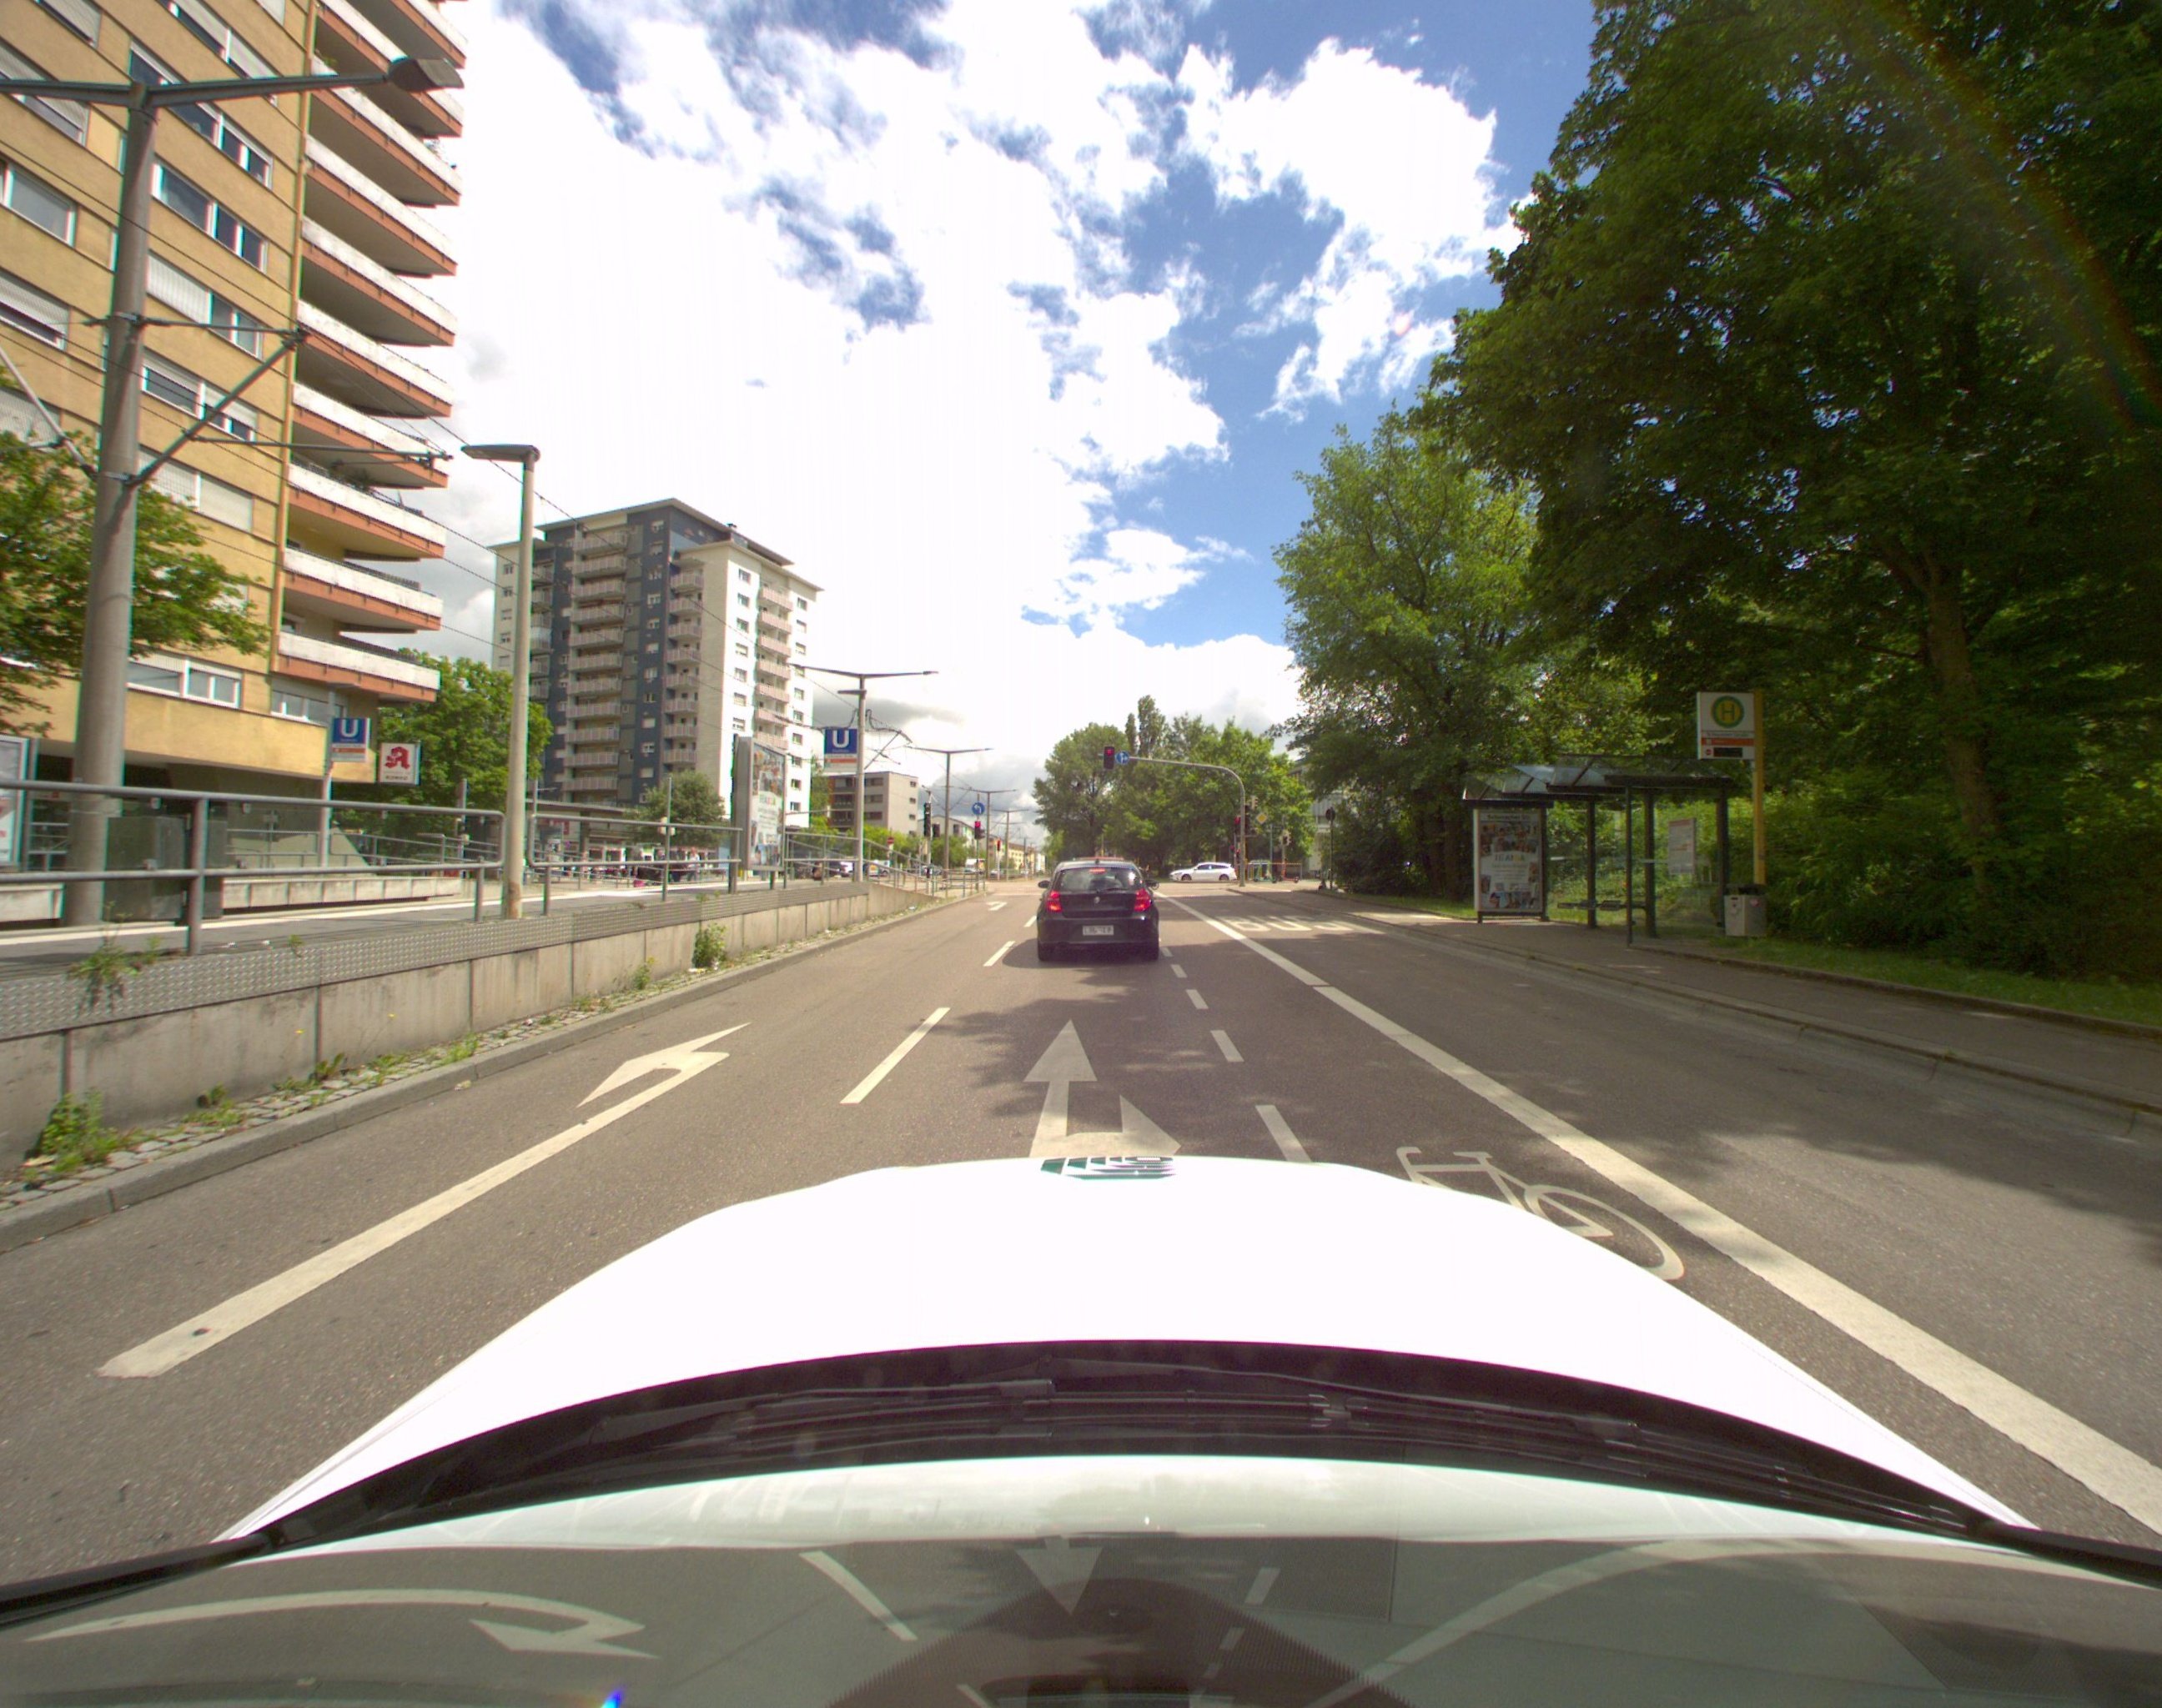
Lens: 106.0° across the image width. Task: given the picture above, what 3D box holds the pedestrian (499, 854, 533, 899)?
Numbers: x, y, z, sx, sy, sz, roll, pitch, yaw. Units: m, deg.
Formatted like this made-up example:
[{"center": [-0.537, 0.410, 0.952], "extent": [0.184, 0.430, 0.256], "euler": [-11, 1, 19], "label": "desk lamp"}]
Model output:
[{"center": [-21.764, 0.862, 31.358], "extent": [0.851, 1.696, 0.692], "euler": [0, 0, 17], "label": "pedestrian"}]

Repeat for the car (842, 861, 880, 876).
[{"center": [-23.211, 1.544, 85.897], "extent": [3.600, 1.462, 1.612], "euler": [-1, 0, -7], "label": "car"}]

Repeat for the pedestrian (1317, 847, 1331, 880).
[{"center": [13.287, 0.526, 44.576], "extent": [0.608, 1.790, 0.571], "euler": [3, 0, 20], "label": "pedestrian"}]

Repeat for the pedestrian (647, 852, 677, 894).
[{"center": [-15.983, 0.714, 31.097], "extent": [0.857, 1.578, 0.622], "euler": [0, 0, -7], "label": "pedestrian"}]

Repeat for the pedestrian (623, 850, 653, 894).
[{"center": [-16.235, 0.655, 29.863], "extent": [0.603, 1.583, 0.777], "euler": [0, 0, 13], "label": "pedestrian"}]

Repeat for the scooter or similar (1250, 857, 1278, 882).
[{"center": [8.970, 0.770, 39.889], "extent": [1.290, 1.189, 0.383], "euler": [-1, 0, -14], "label": "scooter or similar"}]

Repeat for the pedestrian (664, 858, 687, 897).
[{"center": [-14.302, 0.823, 28.736], "extent": [0.691, 1.342, 0.852], "euler": [0, 0, -29], "label": "pedestrian"}]

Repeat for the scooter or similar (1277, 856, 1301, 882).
[{"center": [10.403, 0.751, 40.745], "extent": [1.107, 1.258, 0.331], "euler": [-1, 0, -11], "label": "scooter or similar"}]

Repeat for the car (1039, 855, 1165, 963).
[{"center": [0.382, 0.735, 12.535], "extent": [1.647, 1.419, 3.520], "euler": [-1, 0, 3], "label": "car"}]

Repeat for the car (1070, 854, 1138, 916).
[{"center": [0.609, 0.728, 20.866], "extent": [1.588, 1.419, 3.519], "euler": [-1, 0, 2], "label": "car"}]

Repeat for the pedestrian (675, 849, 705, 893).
[{"center": [-15.197, 0.649, 31.662], "extent": [0.675, 1.706, 0.830], "euler": [0, 0, 13], "label": "pedestrian"}]

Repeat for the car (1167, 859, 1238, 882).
[{"center": [8.484, 1.129, 57.064], "extent": [4.571, 1.526, 1.939], "euler": [-1, 0, -10], "label": "car"}]

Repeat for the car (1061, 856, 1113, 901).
[{"center": [0.210, 0.794, 27.738], "extent": [1.649, 1.419, 3.516], "euler": [-1, 0, 0], "label": "car"}]

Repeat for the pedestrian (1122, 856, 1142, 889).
[{"center": [2.288, 0.821, 36.679], "extent": [0.861, 1.442, 0.799], "euler": [-1, 0, 4], "label": "pedestrian"}]

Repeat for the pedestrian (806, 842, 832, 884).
[{"center": [-10.366, 0.354, 32.231], "extent": [0.696, 1.632, 0.640], "euler": [-1, 0, 10], "label": "pedestrian"}]

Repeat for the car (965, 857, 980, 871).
[{"center": [-20.814, 1.849, 156.250], "extent": [2.132, 2.640, 5.358], "euler": [0, 0, 0], "label": "car"}]

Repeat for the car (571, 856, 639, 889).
[{"center": [-32.582, 1.248, 55.878], "extent": [3.725, 2.013, 1.800], "euler": [-2, 0, -22], "label": "car"}]

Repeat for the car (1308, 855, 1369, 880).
[{"center": [17.369, 0.917, 55.000], "extent": [3.578, 1.600, 1.705], "euler": [-1, -1, -11], "label": "car"}]

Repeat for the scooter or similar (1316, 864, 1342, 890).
[{"center": [10.797, 0.977, 35.422], "extent": [1.153, 1.099, 0.329], "euler": [0, 0, -22], "label": "scooter or similar"}]

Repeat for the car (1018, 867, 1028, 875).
[{"center": [-13.030, 3.779, 183.655], "extent": [1.961, 1.596, 3.999], "euler": [0, 0, -1], "label": "car"}]

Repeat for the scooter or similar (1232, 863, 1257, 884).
[{"center": [7.802, 0.935, 38.794], "extent": [1.121, 0.957, 0.299], "euler": [-1, 0, -14], "label": "scooter or similar"}]

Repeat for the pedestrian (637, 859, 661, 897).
[{"center": [-15.265, 0.834, 28.796], "extent": [0.660, 1.343, 0.558], "euler": [-1, -1, 43], "label": "pedestrian"}]

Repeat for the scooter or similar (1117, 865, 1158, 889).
[{"center": [2.501, 1.010, 36.154], "extent": [1.776, 1.051, 0.410], "euler": [-1, 0, -3], "label": "scooter or similar"}]

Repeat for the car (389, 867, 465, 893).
[{"center": [-43.968, 1.736, 54.805], "extent": [3.674, 1.680, 1.742], "euler": [-1, 0, -3], "label": "car"}]
